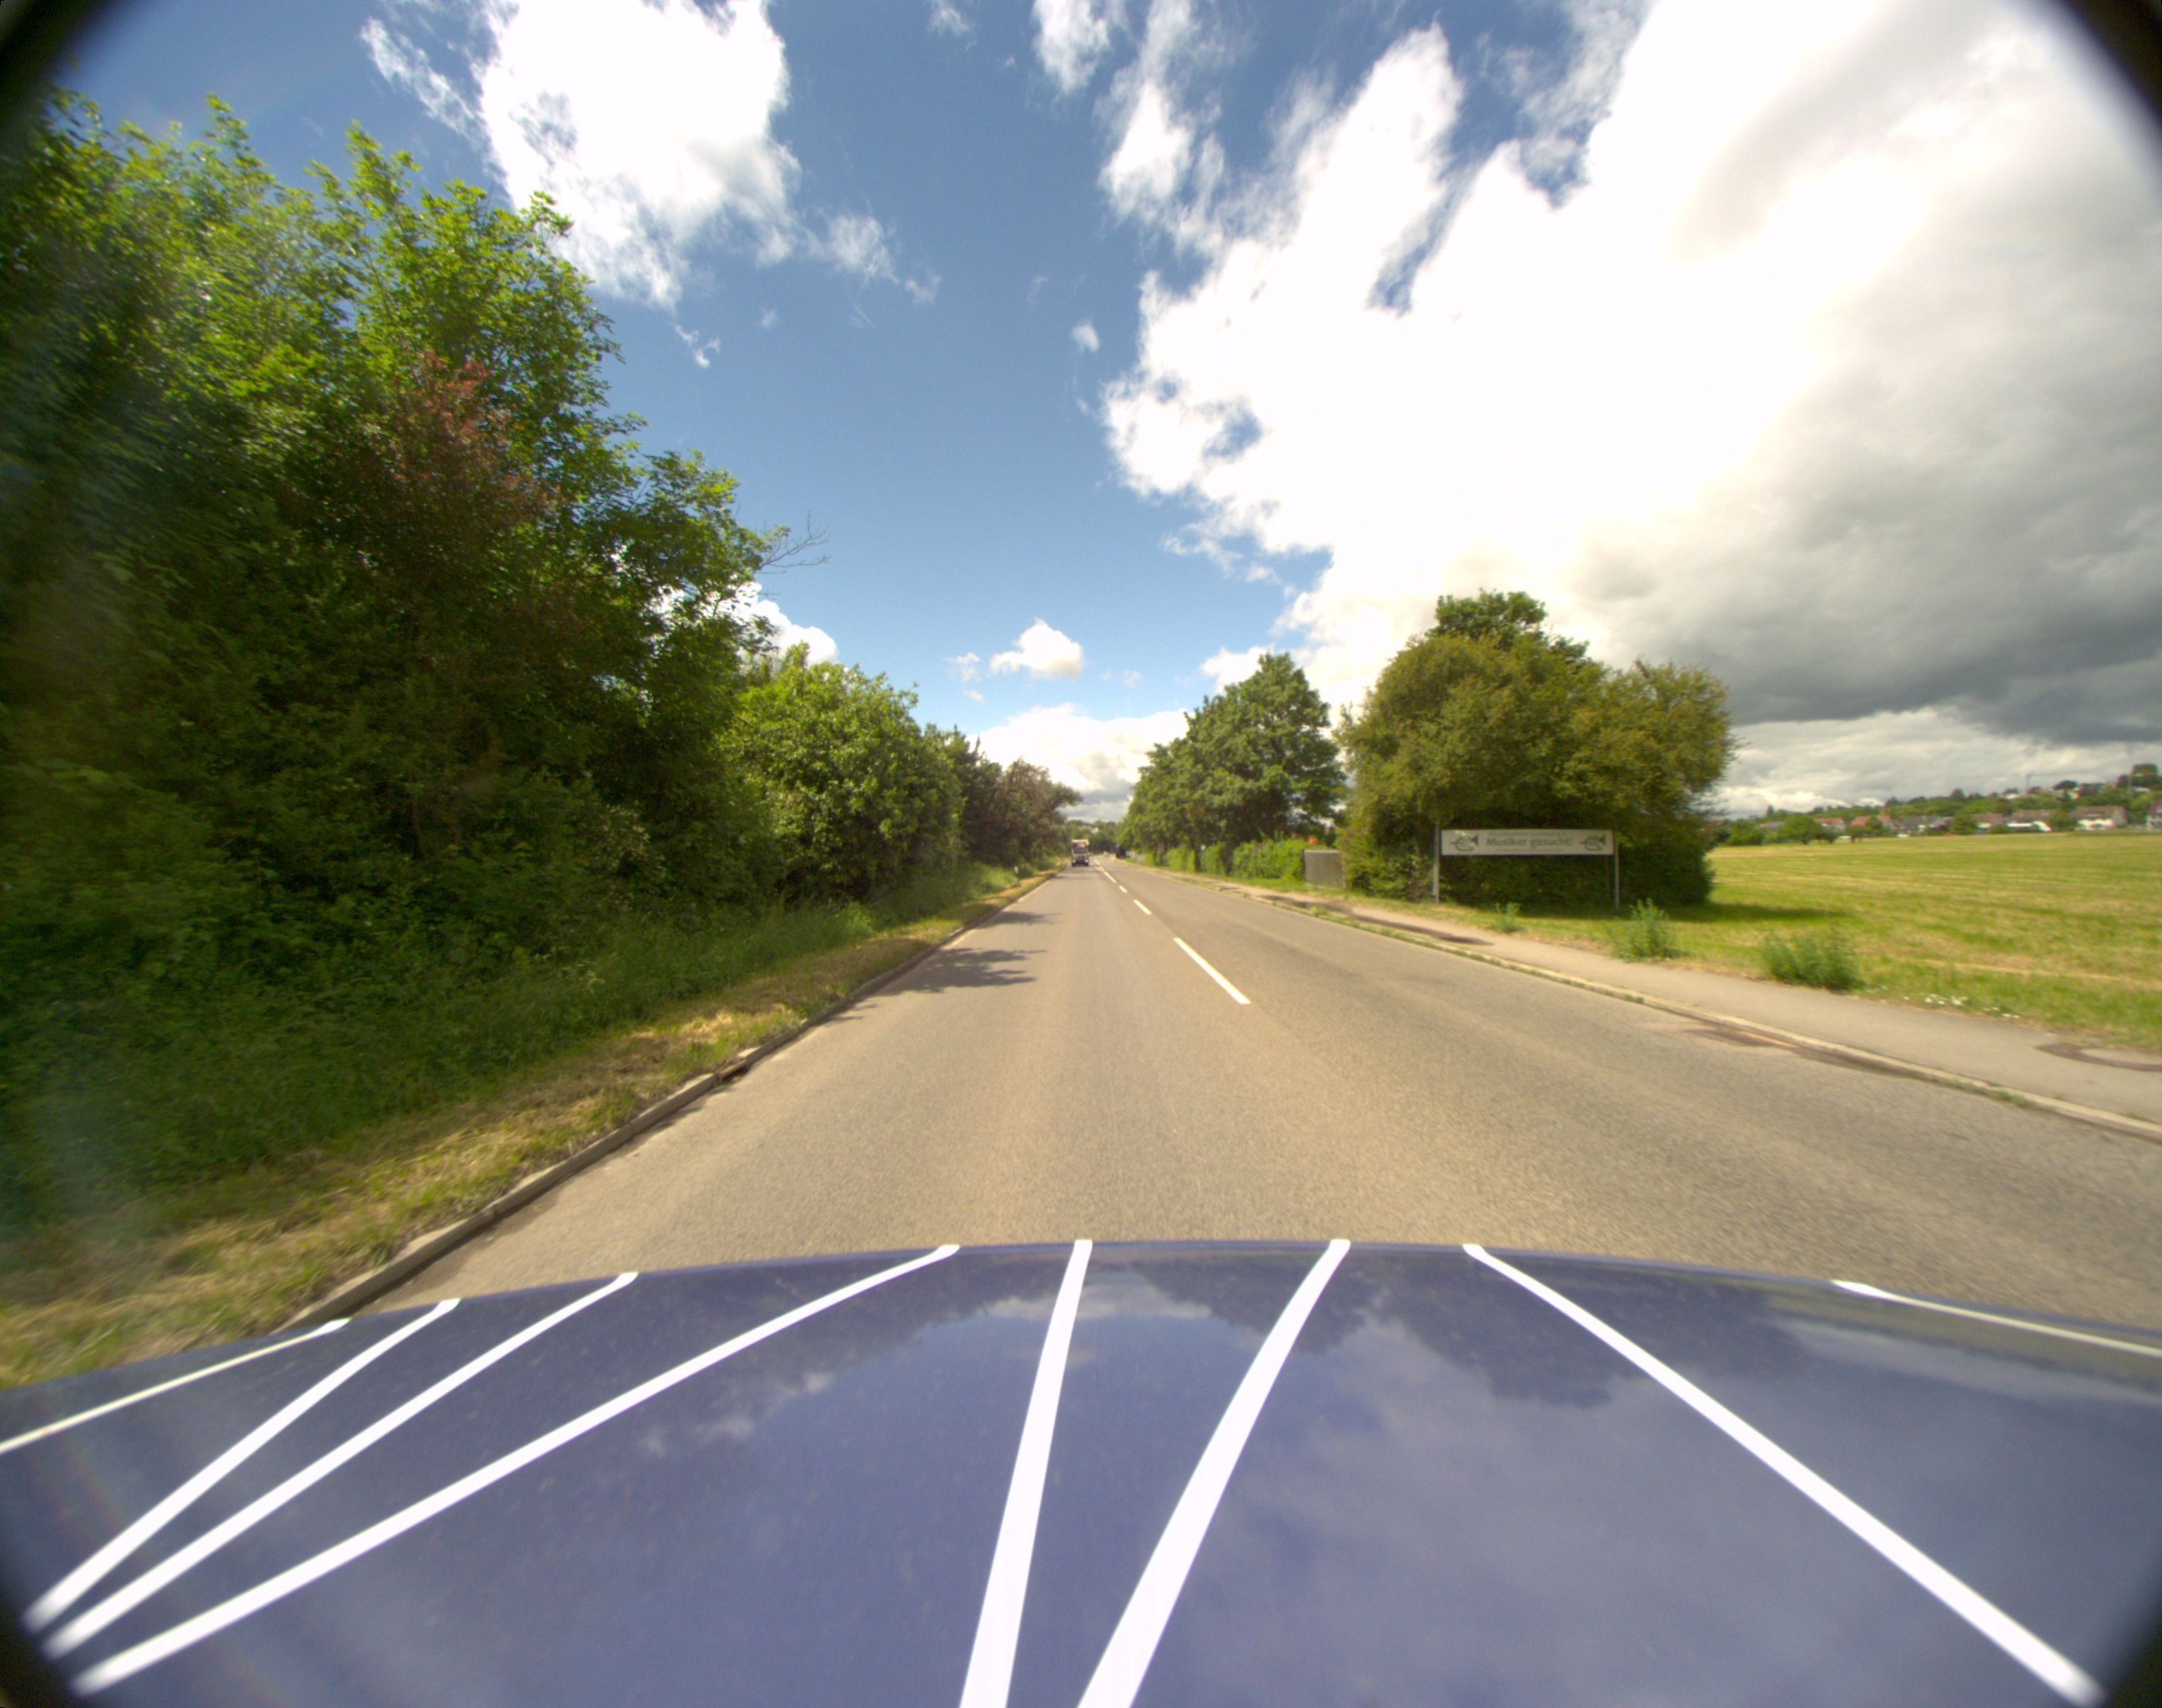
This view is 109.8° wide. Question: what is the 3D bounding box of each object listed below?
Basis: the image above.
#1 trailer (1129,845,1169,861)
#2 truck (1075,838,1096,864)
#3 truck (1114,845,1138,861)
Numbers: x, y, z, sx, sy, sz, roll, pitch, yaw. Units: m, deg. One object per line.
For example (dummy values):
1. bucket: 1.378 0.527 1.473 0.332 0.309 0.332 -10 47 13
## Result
1. trailer: 17.092 -0.309 191.608 9.472 4.059 3.315 0 1 -15
2. truck: 0.620 -0.468 111.377 2.905 3.746 9.634 0 0 0
3. truck: 11.217 -0.252 190.347 5.570 3.801 2.983 0 1 -4
